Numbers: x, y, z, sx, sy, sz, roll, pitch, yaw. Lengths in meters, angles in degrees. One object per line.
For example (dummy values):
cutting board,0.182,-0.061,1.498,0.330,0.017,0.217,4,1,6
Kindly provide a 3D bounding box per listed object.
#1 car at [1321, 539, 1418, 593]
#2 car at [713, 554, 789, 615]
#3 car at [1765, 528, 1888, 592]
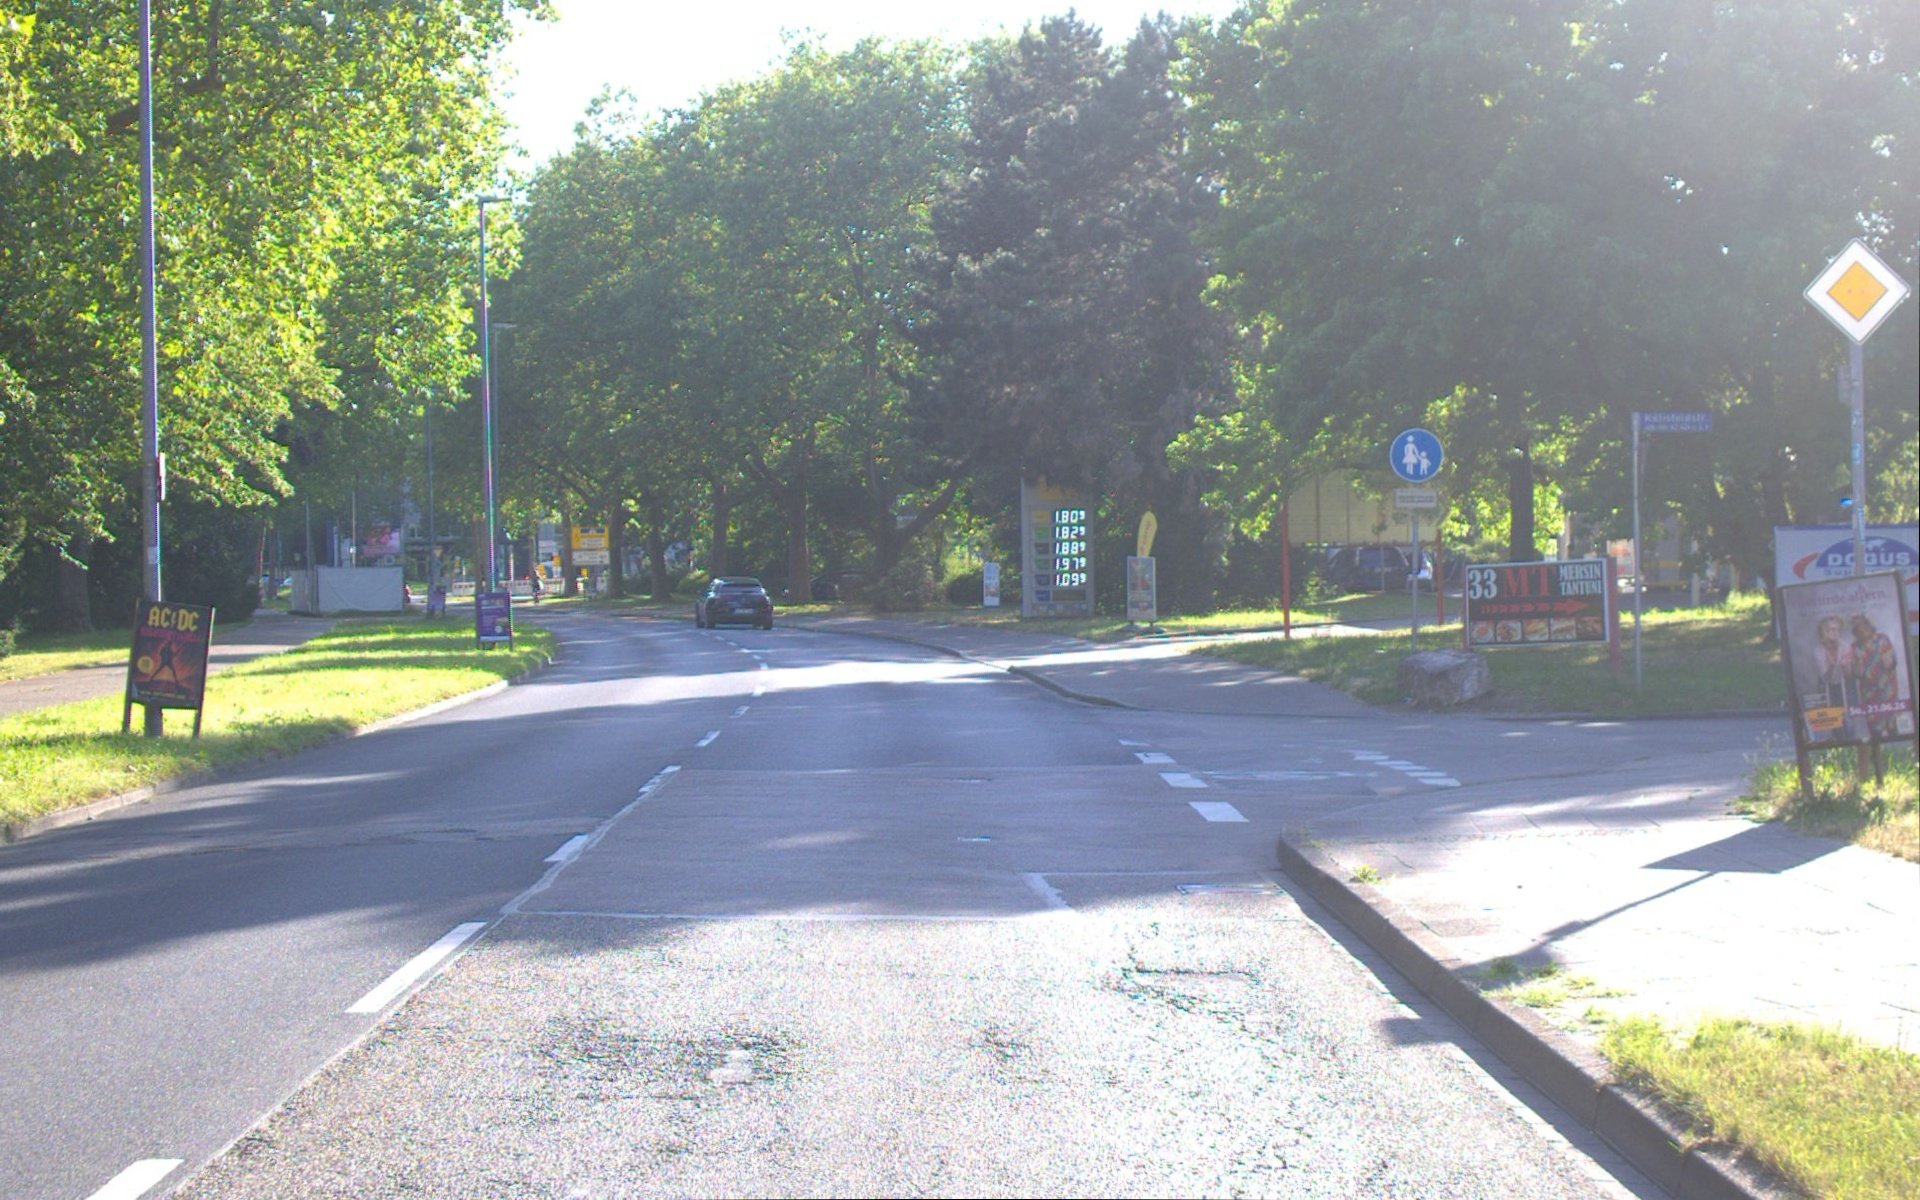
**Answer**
car,11.181,-0.934,94.155,1.841,1.415,4.001,-1,1,-5
car,-5.762,-0.443,95.032,1.839,1.600,3.863,-1,1,0
car,24.220,-1.123,96.270,1.812,1.722,4.399,-1,1,-7
